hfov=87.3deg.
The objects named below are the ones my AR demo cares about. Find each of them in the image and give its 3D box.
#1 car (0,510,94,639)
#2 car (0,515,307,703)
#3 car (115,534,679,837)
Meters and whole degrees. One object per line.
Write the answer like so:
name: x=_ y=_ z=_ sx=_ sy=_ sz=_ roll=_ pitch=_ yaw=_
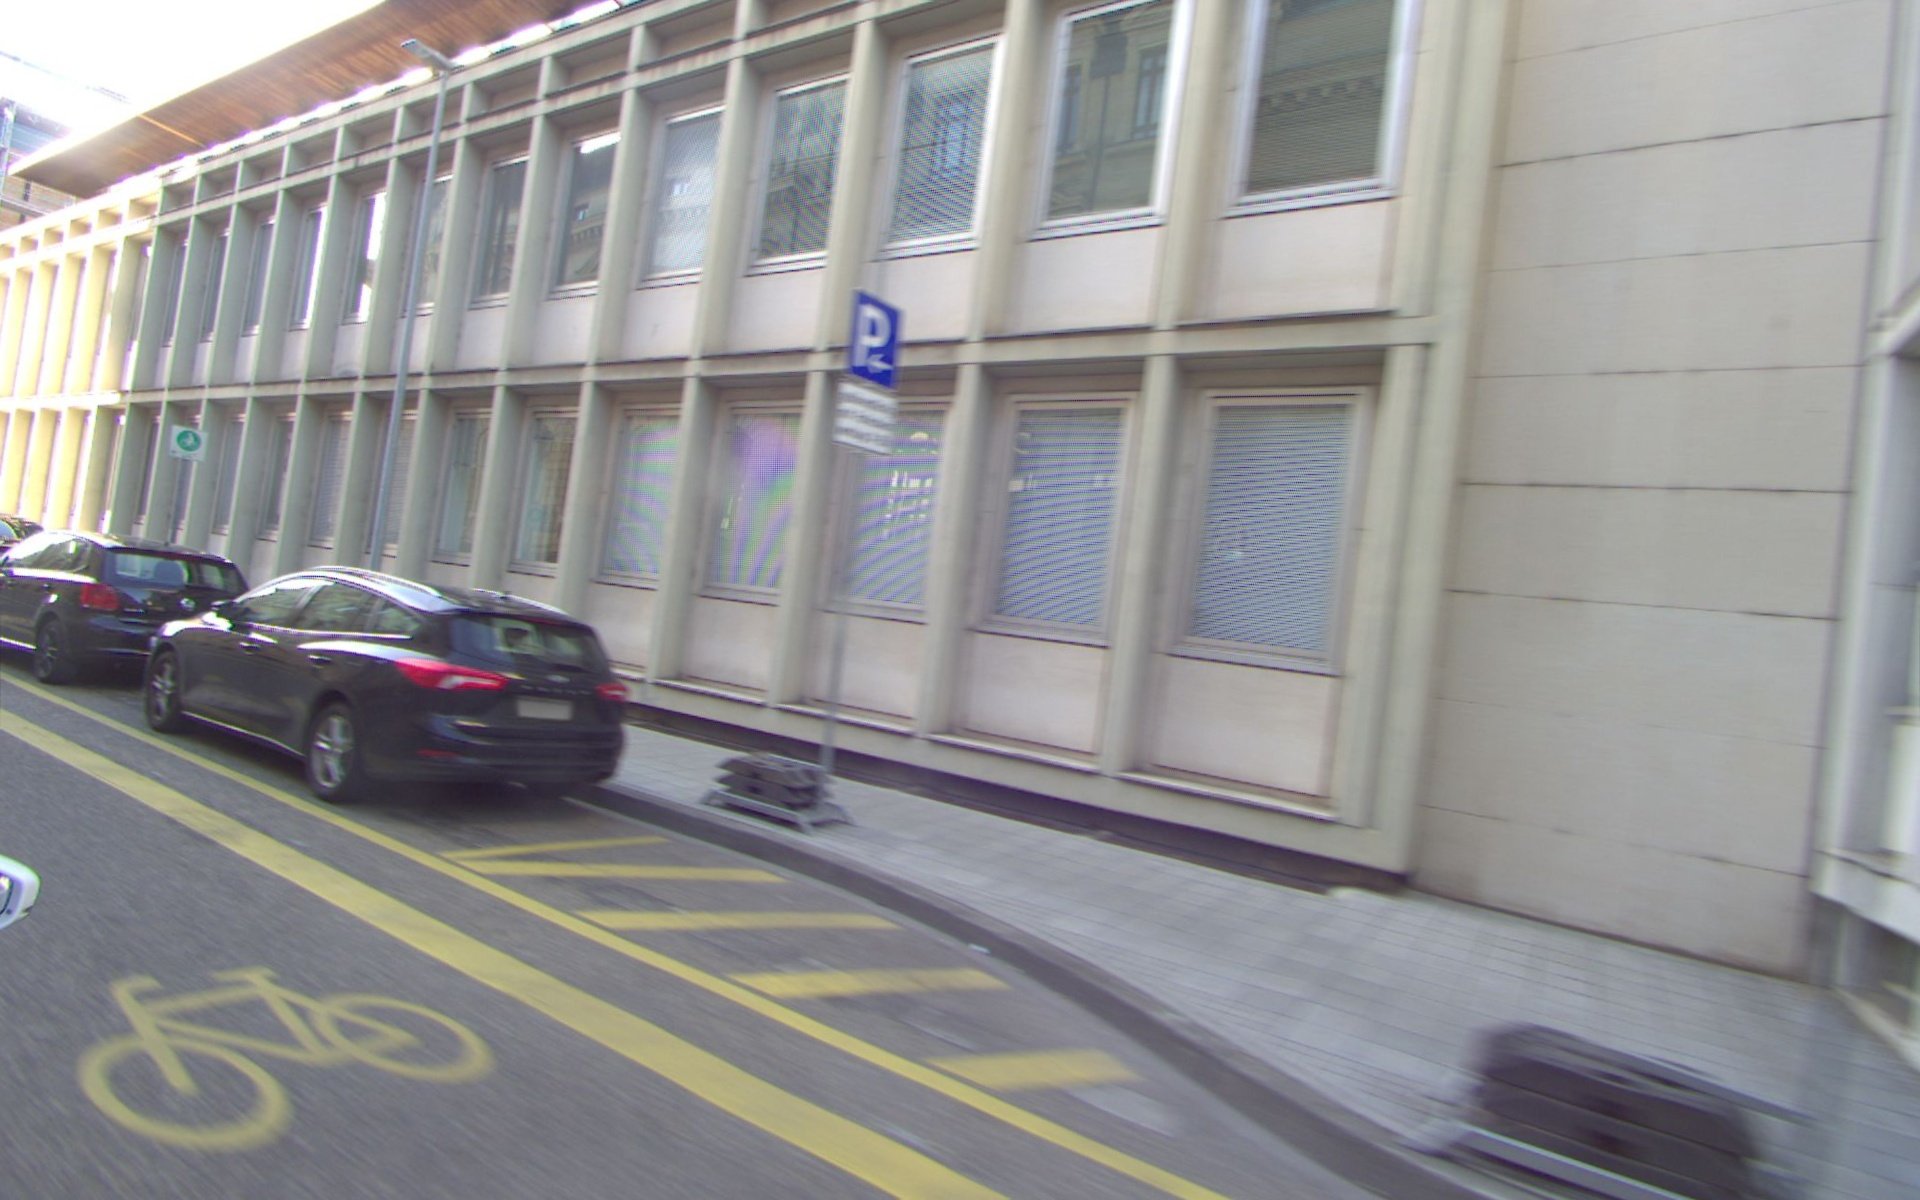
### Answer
car: x=-13.987 y=-0.558 z=13.738 sx=4.659 sy=1.517 sz=1.830 roll=6 pitch=-4 yaw=32
car: x=-9.039 y=0.033 z=10.656 sx=4.218 sy=1.495 sz=1.786 roll=5 pitch=-4 yaw=32
car: x=-4.383 y=0.534 z=7.669 sx=4.218 sy=1.495 sz=1.787 roll=7 pitch=-4 yaw=32
